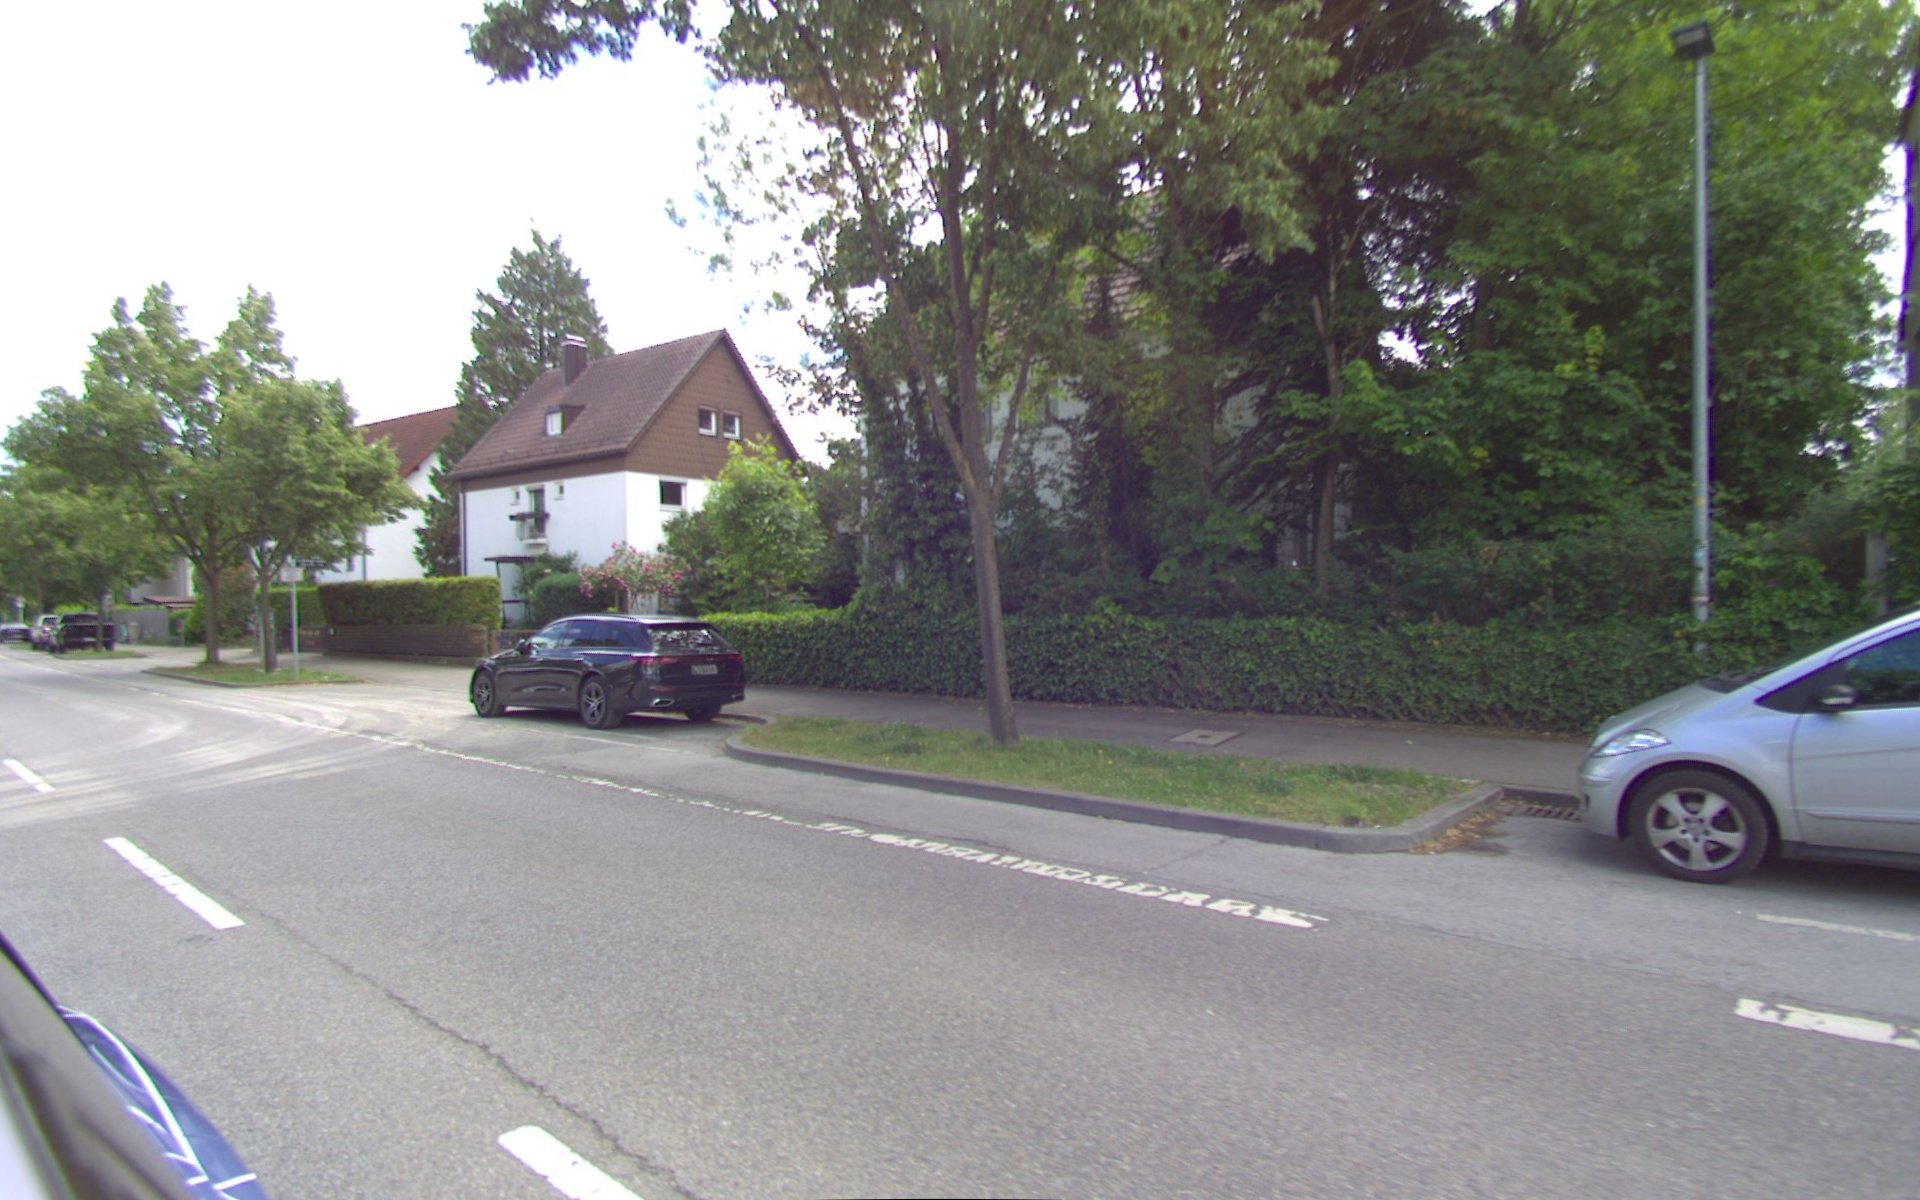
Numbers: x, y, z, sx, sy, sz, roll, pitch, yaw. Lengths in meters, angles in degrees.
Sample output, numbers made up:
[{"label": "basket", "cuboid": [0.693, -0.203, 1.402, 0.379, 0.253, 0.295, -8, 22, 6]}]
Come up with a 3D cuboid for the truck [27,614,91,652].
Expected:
[{"label": "truck", "cuboid": [-47.101, 1.683, 52.869, 5.665, 1.882, 1.945, -1, -2, 43]}]

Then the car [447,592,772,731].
[{"label": "car", "cuboid": [-5.151, 0.798, 14.500, 5.032, 1.659, 2.074, -2, -2, 39]}]

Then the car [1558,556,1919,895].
[{"label": "car", "cuboid": [5.484, 0.596, 5.211, 3.907, 1.625, 1.701, -1, -1, 40]}]

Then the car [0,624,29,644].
[{"label": "car", "cuboid": [-68.216, 2.418, 72.540, 4.926, 1.419, 1.727, -1, -2, 42]}]

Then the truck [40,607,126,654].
[{"label": "truck", "cuboid": [-41.714, 1.415, 48.080, 5.994, 2.059, 2.397, -1, 0, 42]}]
